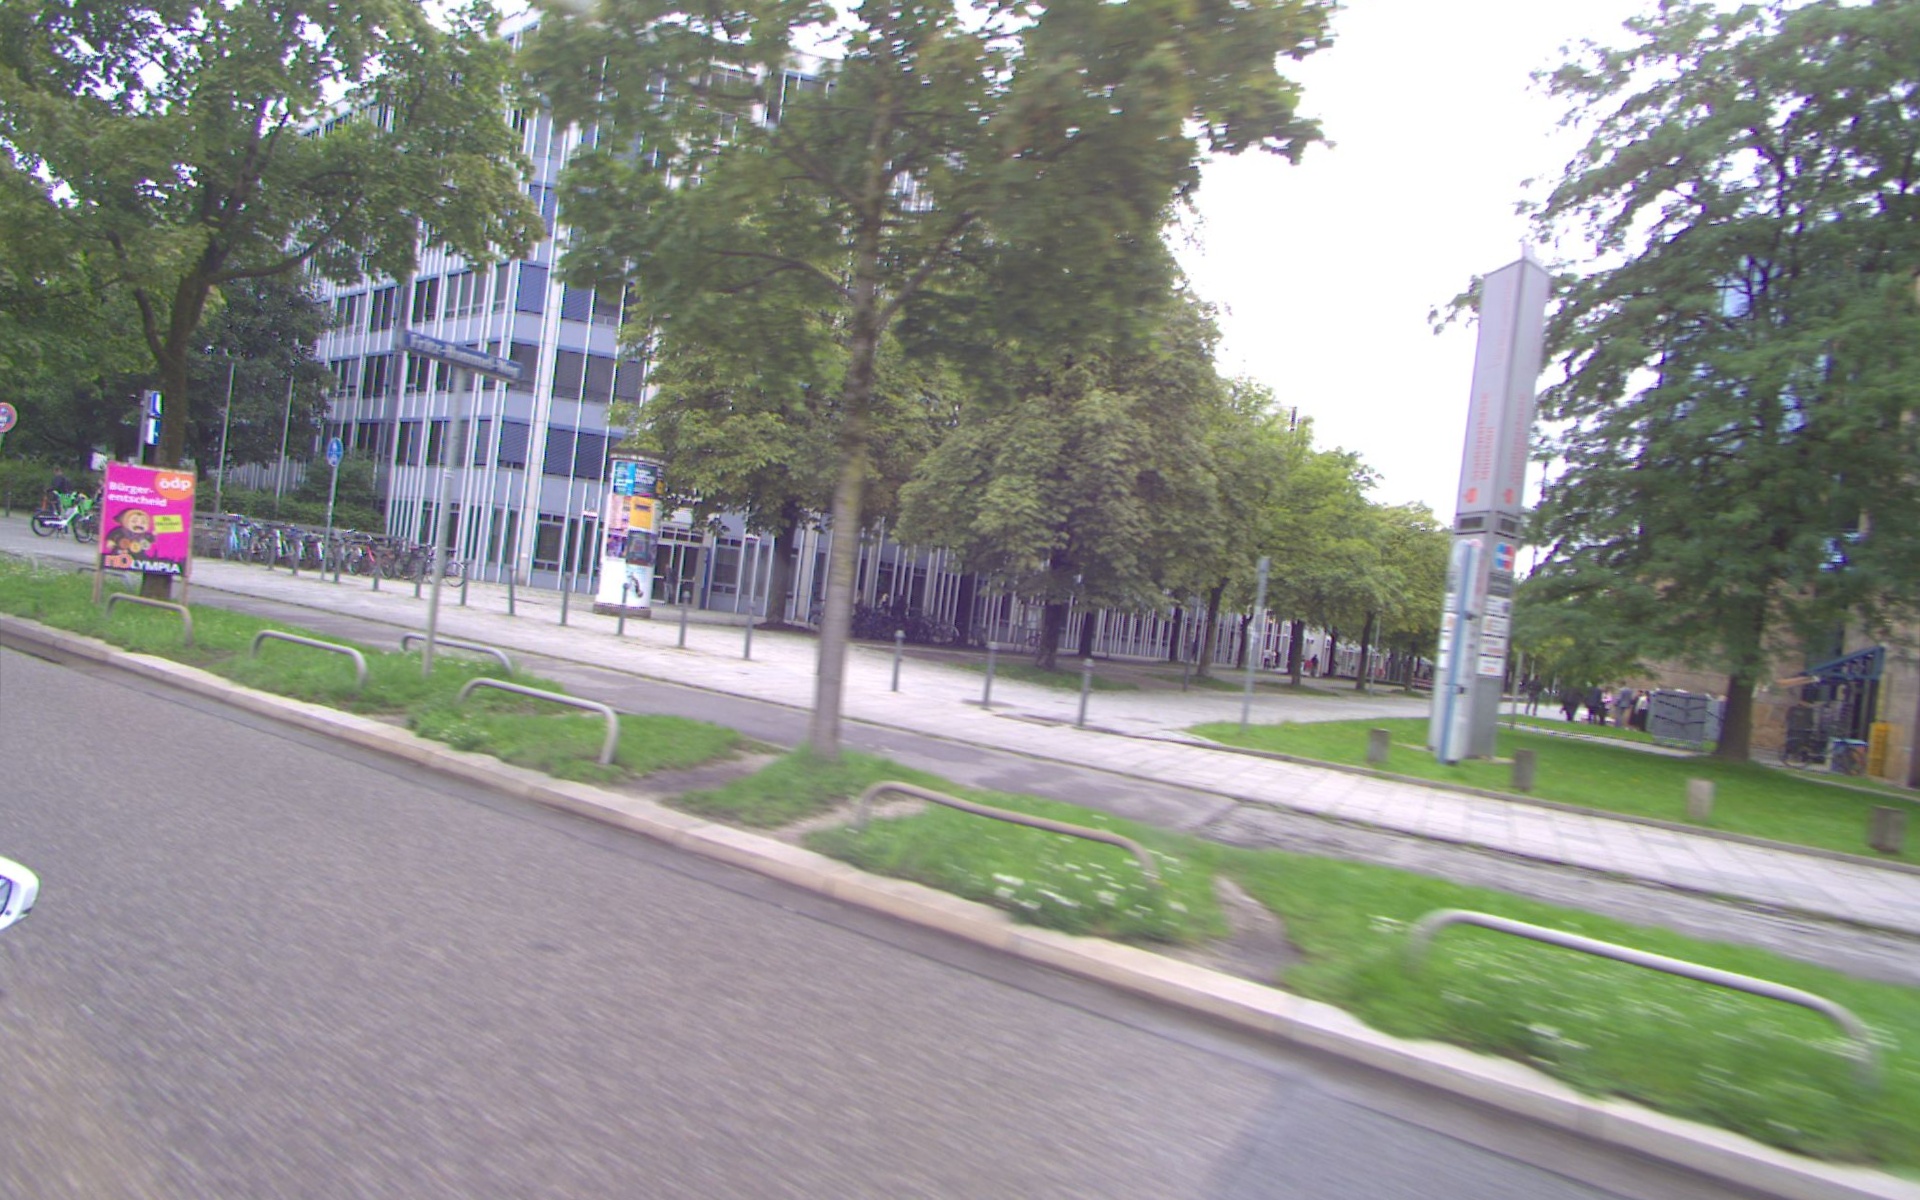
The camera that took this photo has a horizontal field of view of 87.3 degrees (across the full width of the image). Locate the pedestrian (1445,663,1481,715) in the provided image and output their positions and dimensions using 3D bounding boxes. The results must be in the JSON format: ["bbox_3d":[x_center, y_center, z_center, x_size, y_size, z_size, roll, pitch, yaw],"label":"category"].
[{"bbox_3d":[17.744,3.136,35.499,0.852,1.699,0.587,8,1,36],"label":"pedestrian"}]

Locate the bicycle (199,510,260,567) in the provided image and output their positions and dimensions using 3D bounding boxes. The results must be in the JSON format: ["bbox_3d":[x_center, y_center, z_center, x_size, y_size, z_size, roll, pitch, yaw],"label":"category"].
[{"bbox_3d":[-17.882,-1.508,24.616,1.923,1.204,0.488,7,1,34],"label":"bicycle"}]

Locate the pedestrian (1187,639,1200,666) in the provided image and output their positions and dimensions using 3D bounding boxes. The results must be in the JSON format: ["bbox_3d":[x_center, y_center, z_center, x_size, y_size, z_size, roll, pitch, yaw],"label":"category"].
[{"bbox_3d":[15.104,3.372,64.962,0.477,1.679,0.482,7,1,34],"label":"pedestrian"}]

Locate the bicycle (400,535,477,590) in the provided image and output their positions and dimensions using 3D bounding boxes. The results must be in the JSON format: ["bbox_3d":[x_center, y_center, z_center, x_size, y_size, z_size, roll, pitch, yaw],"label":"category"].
[{"bbox_3d":[-15.007,-1.088,28.937,2.434,1.310,0.509,7,1,26],"label":"bicycle"}]

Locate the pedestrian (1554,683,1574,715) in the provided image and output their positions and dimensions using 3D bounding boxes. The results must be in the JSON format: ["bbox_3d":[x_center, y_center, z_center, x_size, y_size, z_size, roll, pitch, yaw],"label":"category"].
[{"bbox_3d":[32.158,5.266,53.563,0.415,1.589,0.592,6,1,-27],"label":"pedestrian"}]

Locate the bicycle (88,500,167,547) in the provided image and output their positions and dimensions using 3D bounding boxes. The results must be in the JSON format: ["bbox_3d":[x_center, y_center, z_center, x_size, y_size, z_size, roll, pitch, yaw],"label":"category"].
[{"bbox_3d":[-21.246,-1.928,25.716,0.570,1.080,1.949,5,3,-8],"label":"bicycle"}]

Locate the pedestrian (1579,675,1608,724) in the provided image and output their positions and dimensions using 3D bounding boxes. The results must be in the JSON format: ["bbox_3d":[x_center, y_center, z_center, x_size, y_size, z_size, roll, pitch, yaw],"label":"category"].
[{"bbox_3d":[23.369,3.657,37.117,0.498,1.699,0.588,6,1,-33],"label":"pedestrian"}]

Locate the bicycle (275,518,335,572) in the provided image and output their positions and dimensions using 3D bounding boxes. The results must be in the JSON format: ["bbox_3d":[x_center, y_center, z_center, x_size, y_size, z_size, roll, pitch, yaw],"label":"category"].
[{"bbox_3d":[-16.998,-1.433,26.079,1.923,1.204,0.488,7,1,34],"label":"bicycle"}]

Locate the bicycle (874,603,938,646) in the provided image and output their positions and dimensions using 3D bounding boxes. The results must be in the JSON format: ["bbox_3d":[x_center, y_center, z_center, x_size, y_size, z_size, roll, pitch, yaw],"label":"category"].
[{"bbox_3d":[-1.924,0.860,35.559,2.137,1.276,0.553,7,1,26],"label":"bicycle"}]

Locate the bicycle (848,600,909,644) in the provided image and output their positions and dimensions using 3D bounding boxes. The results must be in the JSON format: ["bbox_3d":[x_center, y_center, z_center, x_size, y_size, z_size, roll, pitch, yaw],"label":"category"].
[{"bbox_3d":[-2.801,0.749,34.539,1.986,1.276,0.509,7,1,26],"label":"bicycle"}]

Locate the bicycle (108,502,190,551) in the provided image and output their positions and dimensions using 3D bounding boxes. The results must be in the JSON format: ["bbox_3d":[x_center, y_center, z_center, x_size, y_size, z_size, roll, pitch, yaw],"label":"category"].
[{"bbox_3d":[-20.375,-1.819,25.322,0.594,1.104,2.037,4,1,-8],"label":"bicycle"}]

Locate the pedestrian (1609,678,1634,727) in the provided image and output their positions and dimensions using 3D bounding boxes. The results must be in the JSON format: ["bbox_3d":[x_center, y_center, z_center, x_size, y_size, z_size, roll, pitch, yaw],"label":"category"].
[{"bbox_3d":[24.225,3.762,36.853,0.584,1.699,0.561,8,1,35],"label":"pedestrian"}]

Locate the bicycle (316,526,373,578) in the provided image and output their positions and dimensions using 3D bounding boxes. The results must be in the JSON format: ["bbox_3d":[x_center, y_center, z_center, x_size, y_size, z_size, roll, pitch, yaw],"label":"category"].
[{"bbox_3d":[-16.305,-1.283,26.635,1.923,1.204,0.446,7,1,34],"label":"bicycle"}]

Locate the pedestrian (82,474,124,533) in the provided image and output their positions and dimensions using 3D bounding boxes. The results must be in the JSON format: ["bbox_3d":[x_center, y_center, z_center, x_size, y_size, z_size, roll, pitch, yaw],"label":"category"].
[{"bbox_3d":[-27.206,-3.048,31.948,0.777,1.736,0.744,6,1,-31],"label":"pedestrian"}]

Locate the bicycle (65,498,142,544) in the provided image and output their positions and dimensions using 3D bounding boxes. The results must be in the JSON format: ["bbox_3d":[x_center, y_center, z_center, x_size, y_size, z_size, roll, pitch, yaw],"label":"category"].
[{"bbox_3d":[-23.195,-2.136,27.298,0.570,1.123,1.948,7,4,-8],"label":"bicycle"}]

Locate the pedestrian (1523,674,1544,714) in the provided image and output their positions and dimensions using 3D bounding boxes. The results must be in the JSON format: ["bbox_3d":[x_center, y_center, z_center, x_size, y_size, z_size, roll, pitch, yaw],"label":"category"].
[{"bbox_3d":[25.049,4.114,43.939,0.507,1.652,0.503,8,2,44],"label":"pedestrian"}]

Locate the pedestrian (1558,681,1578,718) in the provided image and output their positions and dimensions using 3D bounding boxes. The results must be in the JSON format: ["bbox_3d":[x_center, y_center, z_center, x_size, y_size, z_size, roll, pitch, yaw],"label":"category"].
[{"bbox_3d":[27.023,4.414,44.700,0.418,1.589,0.508,6,2,-43],"label":"pedestrian"}]

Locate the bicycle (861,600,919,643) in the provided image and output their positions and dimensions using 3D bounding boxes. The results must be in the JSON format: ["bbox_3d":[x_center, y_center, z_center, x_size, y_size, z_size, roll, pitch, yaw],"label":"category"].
[{"bbox_3d":[-2.460,0.753,35.176,1.920,1.276,0.509,7,1,26],"label":"bicycle"}]

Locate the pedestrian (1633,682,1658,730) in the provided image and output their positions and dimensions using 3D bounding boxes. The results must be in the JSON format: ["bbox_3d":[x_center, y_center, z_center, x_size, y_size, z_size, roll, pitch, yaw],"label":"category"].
[{"bbox_3d":[25.268,3.891,37.086,0.494,1.699,0.592,7,1,25],"label":"pedestrian"}]

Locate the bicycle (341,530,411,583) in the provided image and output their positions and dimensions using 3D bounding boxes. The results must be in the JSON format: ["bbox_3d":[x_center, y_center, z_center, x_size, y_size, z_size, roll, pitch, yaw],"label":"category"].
[{"bbox_3d":[-15.719,-1.183,27.063,2.104,1.204,0.446,7,1,26],"label":"bicycle"}]

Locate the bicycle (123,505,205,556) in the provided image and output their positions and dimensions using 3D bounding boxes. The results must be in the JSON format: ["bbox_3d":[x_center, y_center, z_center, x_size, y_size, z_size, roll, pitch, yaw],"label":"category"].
[{"bbox_3d":[-19.160,-1.654,24.272,0.570,1.114,2.027,4,2,-8],"label":"bicycle"}]

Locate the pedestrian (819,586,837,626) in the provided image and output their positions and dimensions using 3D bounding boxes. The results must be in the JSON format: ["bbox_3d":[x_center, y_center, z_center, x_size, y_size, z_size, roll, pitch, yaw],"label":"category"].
[{"bbox_3d":[-5.118,0.230,39.082,0.389,1.510,0.383,8,1,44],"label":"pedestrian"}]

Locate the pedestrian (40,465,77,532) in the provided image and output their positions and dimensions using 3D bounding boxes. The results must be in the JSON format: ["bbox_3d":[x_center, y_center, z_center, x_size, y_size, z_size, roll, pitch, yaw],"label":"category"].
[{"bbox_3d":[-27.515,-3.084,30.708,0.648,1.923,0.741,6,1,-39],"label":"pedestrian"}]

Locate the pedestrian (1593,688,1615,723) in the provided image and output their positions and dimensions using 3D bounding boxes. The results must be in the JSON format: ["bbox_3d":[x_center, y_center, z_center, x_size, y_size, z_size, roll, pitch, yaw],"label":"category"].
[{"bbox_3d":[25.039,4.102,39.106,0.505,1.299,0.420,7,1,22],"label":"pedestrian"}]

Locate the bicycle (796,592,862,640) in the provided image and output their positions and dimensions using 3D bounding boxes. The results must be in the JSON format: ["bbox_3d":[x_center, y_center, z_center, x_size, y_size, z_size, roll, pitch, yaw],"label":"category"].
[{"bbox_3d":[-4.215,0.497,32.304,2.020,1.276,0.607,7,1,29],"label":"bicycle"}]

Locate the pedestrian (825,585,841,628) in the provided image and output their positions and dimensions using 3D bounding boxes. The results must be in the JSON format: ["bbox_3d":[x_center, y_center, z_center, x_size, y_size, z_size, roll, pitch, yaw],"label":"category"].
[{"bbox_3d":[-4.874,0.255,38.681,0.307,1.592,0.349,6,1,-40],"label":"pedestrian"}]

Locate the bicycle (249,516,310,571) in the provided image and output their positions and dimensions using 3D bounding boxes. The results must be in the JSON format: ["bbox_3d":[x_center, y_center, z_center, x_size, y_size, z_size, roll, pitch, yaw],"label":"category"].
[{"bbox_3d":[-17.289,-1.438,25.543,1.923,1.204,0.488,7,1,34],"label":"bicycle"}]

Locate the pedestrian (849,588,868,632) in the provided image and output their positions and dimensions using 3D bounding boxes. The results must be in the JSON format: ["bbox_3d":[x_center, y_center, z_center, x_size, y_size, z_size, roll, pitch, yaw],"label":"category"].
[{"bbox_3d":[-3.809,0.371,37.754,0.401,1.591,0.347,7,1,34],"label":"pedestrian"}]

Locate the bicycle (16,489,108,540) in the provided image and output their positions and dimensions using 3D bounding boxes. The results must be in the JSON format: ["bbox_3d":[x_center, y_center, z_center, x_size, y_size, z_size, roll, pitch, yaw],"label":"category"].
[{"bbox_3d":[-24.118,-2.276,27.052,0.586,1.205,1.952,7,3,3],"label":"bicycle"}]

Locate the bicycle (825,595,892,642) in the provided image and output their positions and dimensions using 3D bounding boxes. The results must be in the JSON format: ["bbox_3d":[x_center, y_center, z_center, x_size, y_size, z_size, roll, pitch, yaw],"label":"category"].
[{"bbox_3d":[-3.367,0.618,33.226,2.137,1.276,0.509,7,1,26],"label":"bicycle"}]

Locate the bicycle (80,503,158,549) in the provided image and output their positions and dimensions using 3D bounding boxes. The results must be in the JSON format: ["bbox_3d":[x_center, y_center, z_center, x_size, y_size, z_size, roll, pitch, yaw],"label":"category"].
[{"bbox_3d":[-22.293,-1.948,26.711,0.587,1.098,1.949,7,2,-8],"label":"bicycle"}]

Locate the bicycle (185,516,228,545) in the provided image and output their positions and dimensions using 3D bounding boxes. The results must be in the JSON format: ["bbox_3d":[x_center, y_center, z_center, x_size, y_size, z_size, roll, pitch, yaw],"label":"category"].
[{"bbox_3d":[-29.356,-2.702,39.176,1.804,0.864,0.683,9,1,32],"label":"bicycle"}]

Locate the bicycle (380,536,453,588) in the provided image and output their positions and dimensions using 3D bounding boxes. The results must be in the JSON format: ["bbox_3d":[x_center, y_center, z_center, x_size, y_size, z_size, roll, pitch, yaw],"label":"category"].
[{"bbox_3d":[-15.237,-1.076,28.189,2.104,1.204,0.578,7,1,26],"label":"bicycle"}]

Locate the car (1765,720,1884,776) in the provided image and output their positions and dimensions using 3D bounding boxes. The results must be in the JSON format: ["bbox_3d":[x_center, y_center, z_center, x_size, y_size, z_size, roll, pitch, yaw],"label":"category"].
[{"bbox_3d":[21.197,3.604,24.726,2.043,1.026,0.677,5,0,32],"label":"car"}]

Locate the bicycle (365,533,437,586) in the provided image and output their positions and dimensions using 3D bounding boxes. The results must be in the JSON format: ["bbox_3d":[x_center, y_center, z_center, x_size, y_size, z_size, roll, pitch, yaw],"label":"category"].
[{"bbox_3d":[-15.261,-1.104,27.429,2.104,1.204,0.512,7,1,26],"label":"bicycle"}]

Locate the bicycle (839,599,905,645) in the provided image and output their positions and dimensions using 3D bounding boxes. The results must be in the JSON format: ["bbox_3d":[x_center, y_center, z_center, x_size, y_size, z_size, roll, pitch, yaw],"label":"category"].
[{"bbox_3d":[-2.961,0.736,33.933,2.137,1.276,0.509,7,1,26],"label":"bicycle"}]

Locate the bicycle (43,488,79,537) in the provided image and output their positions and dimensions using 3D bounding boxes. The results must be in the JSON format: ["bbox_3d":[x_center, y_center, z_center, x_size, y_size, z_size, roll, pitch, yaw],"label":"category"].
[{"bbox_3d":[-26.092,-2.539,29.189,1.834,1.243,0.529,9,4,41],"label":"bicycle"}]

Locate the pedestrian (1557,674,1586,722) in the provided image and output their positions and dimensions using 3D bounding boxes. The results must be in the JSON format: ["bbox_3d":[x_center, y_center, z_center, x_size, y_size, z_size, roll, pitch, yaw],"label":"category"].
[{"bbox_3d":[23.115,3.705,38.019,0.494,1.699,0.593,7,1,-3],"label":"pedestrian"}]

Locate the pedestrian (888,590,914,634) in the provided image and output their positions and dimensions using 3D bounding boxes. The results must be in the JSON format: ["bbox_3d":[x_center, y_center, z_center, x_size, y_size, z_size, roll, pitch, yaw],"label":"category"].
[{"bbox_3d":[-2.357,0.470,39.995,0.588,1.679,0.618,6,1,-42],"label":"pedestrian"}]

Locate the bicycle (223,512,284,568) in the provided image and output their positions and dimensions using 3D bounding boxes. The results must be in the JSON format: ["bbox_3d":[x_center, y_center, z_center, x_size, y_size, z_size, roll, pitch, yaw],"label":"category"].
[{"bbox_3d":[-17.609,-1.503,25.060,1.923,1.204,0.488,7,1,34],"label":"bicycle"}]

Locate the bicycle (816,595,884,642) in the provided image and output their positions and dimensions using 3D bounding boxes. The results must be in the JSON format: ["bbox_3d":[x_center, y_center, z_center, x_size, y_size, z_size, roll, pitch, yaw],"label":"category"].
[{"bbox_3d":[-3.582,0.593,32.685,2.137,1.276,0.509,7,1,26],"label":"bicycle"}]

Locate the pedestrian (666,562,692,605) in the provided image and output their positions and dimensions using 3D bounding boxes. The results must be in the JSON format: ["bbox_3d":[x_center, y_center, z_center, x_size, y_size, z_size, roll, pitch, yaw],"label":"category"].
[{"bbox_3d":[-11.740,-0.689,41.983,0.649,1.699,0.691,6,1,-42],"label":"pedestrian"}]
